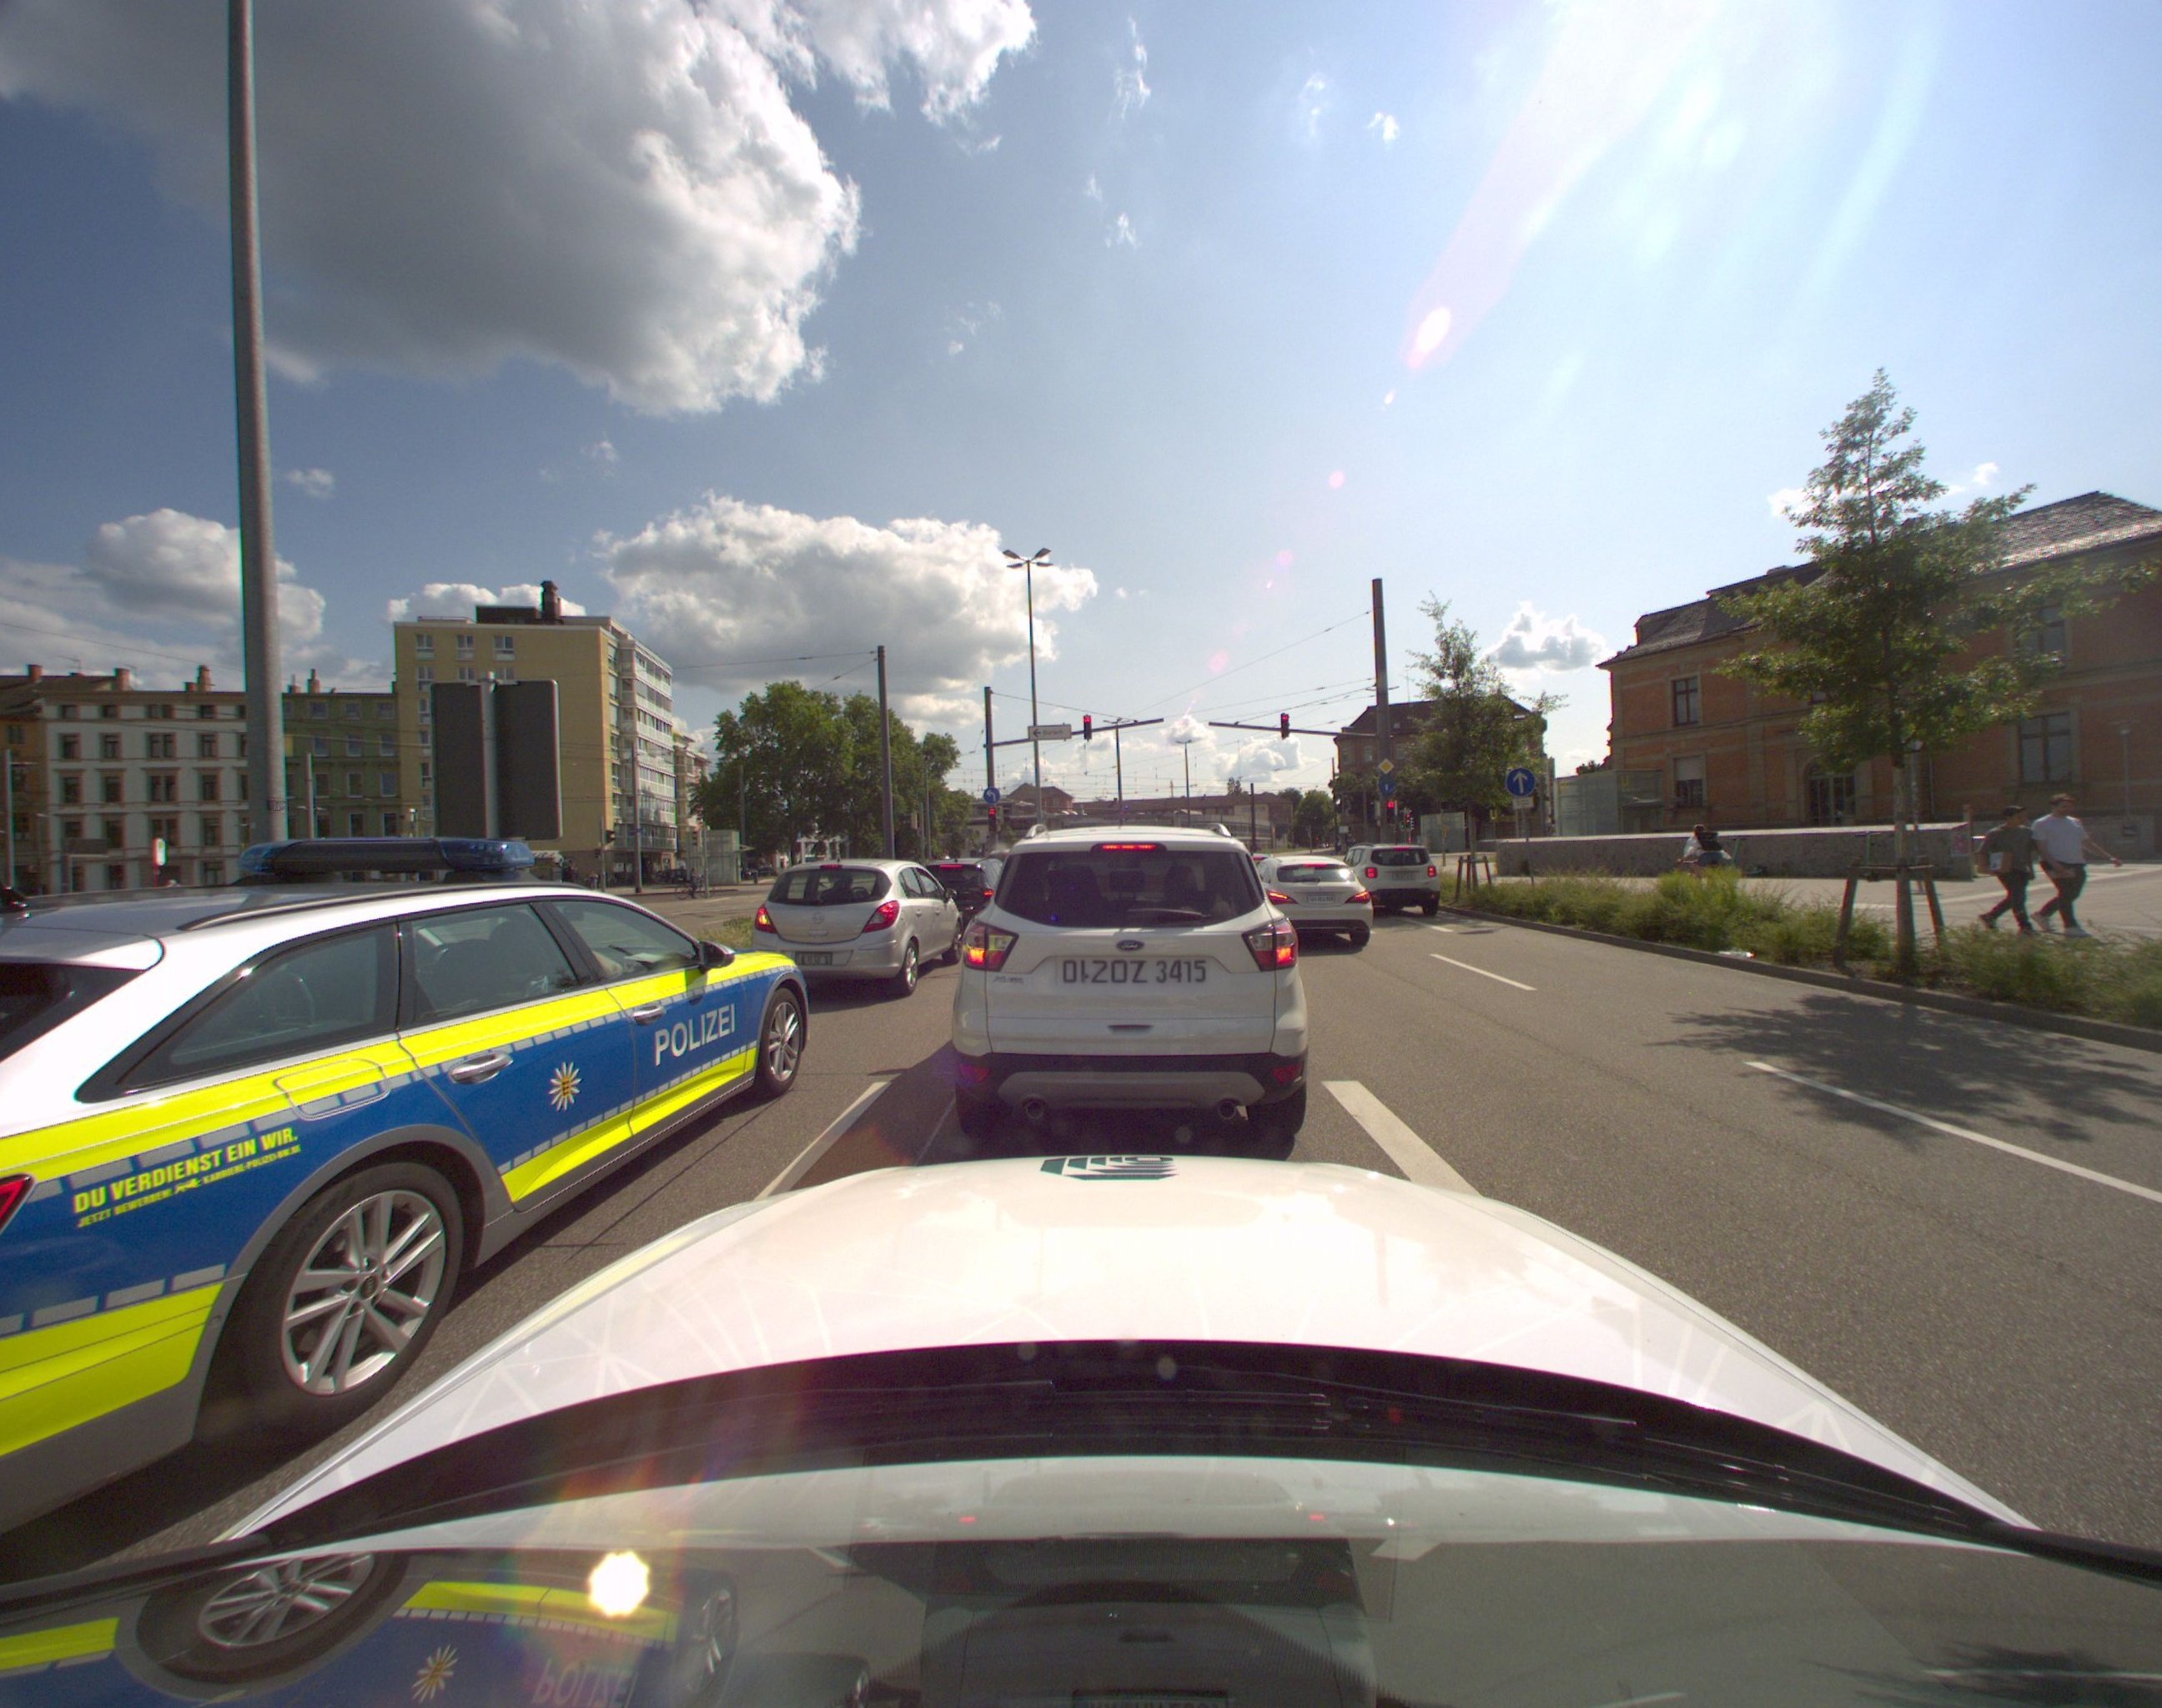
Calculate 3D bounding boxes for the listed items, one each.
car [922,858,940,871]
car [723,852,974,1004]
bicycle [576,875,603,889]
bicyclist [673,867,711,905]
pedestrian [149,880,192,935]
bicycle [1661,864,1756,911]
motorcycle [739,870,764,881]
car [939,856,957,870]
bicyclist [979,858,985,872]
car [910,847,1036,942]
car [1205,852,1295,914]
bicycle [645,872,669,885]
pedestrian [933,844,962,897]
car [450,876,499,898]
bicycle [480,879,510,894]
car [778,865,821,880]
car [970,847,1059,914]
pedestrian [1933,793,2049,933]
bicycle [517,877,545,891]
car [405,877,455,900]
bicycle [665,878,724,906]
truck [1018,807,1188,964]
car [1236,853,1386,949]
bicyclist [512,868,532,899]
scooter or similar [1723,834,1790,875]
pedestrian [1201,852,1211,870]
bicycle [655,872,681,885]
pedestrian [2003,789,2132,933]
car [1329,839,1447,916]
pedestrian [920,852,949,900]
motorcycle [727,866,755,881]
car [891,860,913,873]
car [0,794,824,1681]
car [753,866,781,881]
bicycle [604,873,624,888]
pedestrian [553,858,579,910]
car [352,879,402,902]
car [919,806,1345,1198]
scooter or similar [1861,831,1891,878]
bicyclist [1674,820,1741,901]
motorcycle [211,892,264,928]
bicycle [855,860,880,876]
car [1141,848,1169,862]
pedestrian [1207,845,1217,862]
[{"bbox_3d":[-22.936,1.638,124.657,1.963,1.937,4.227,-4,-1,-2],"label":"car"},{"bbox_3d":[-2.626,0.755,10.261,1.841,1.474,4.002,-2,0,2],"label":"car"},{"bbox_3d":[-42.401,2.397,70.228,1.808,1.104,0.792,-2,0,-18],"label":"bicycle"},{"bbox_3d":[-18.649,1.516,39.064,1.293,1.731,0.994,-3,-1,-1],"label":"bicyclist"},{"bbox_3d":[-31.319,1.822,28.033,0.771,1.797,1.017,0,-1,-36],"label":"pedestrian"},{"bbox_3d":[11.699,0.605,15.241,0.582,0.775,1.623,-2,0,4],"label":"bicycle"},{"bbox_3d":[-31.417,2.013,77.772,0.801,0.917,2.057,-2,1,39],"label":"motorcycle"},{"bbox_3d":[-20.302,1.448,124.339,1.989,2.014,4.227,-4,-1,-2],"label":"car"},{"bbox_3d":[-12.727,1.425,104.769,0.636,1.738,0.662,-1,0,-1],"label":"bicyclist"},{"bbox_3d":[-1.973,0.693,16.218,1.756,1.568,4.528,-2,0,1],"label":"car"},{"bbox_3d":[4.217,0.687,20.852,1.841,1.419,3.684,-1,0,5],"label":"car"},{"bbox_3d":[-38.362,2.219,73.715,1.808,1.147,0.792,-2,0,-17],"label":"bicycle"},{"bbox_3d":[-4.926,0.610,30.087,0.844,1.917,0.693,-3,-1,1],"label":"pedestrian"},{"bbox_3d":[-45.970,2.482,61.679,3.849,1.496,1.912,-3,-2,36],"label":"car"},{"bbox_3d":[-49.386,2.739,68.646,1.808,1.104,0.792,-2,0,-18],"label":"bicycle"},{"bbox_3d":[-30.196,1.993,87.502,3.975,1.327,1.632,-3,-1,-1],"label":"car"},{"bbox_3d":[-1.698,0.657,22.303,2.033,1.578,4.538,-1,0,0],"label":"car"},{"bbox_3d":[12.043,0.111,10.815,0.735,1.754,0.895,-5,-1,35],"label":"pedestrian"},{"bbox_3d":[-46.812,2.512,69.324,1.808,1.104,0.792,-2,0,-18],"label":"bicycle"},{"bbox_3d":[-48.058,2.535,60.115,3.849,1.496,1.912,-3,-2,35],"label":"car"},{"bbox_3d":[-18.505,1.800,39.066,2.286,1.188,0.994,-3,-1,-1],"label":"bicycle"},{"bbox_3d":[0.467,0.441,14.275,2.329,2.155,5.856,-1,0,3],"label":"truck"},{"bbox_3d":[3.787,0.713,14.056,1.841,1.419,3.684,-1,0,5],"label":"car"},{"bbox_3d":[-32.433,1.702,47.281,0.779,1.797,0.706,0,-1,-17],"label":"bicyclist"},{"bbox_3d":[19.393,0.019,23.409,0.466,1.118,1.438,-3,0,-18],"label":"scooter or similar"},{"bbox_3d":[12.441,0.692,80.913,0.582,1.744,0.932,-1,-1,42],"label":"pedestrian"},{"bbox_3d":[-38.050,2.241,75.012,1.948,1.147,0.792,-2,0,-17],"label":"bicycle"},{"bbox_3d":[12.618,0.087,10.459,0.735,1.746,0.895,-5,-1,35],"label":"pedestrian"},{"bbox_3d":[7.316,0.525,19.810,1.826,1.652,4.009,-1,-1,8],"label":"car"},{"bbox_3d":[-5.268,0.790,29.277,0.844,1.648,0.693,-3,-1,1],"label":"pedestrian"},{"bbox_3d":[-30.464,1.782,72.904,2.193,1.238,0.910,-2,1,19],"label":"motorcycle"},{"bbox_3d":[-27.546,1.915,125.617,1.960,1.937,5.070,-4,-1,1],"label":"car"},{"bbox_3d":[-2.834,0.708,3.482,1.873,1.568,4.616,-2,0,1],"label":"car"},{"bbox_3d":[-32.490,2.039,84.404,1.905,1.413,3.986,-3,-1,-10],"label":"car"},{"bbox_3d":[-41.323,2.307,72.096,0.792,1.258,1.808,-2,0,-2],"label":"bicycle"},{"bbox_3d":[-19.083,1.090,30.207,0.770,1.903,0.819,0,-1,-30],"label":"pedestrian"},{"bbox_3d":[-51.478,2.672,59.560,3.849,1.496,1.912,-3,-2,35],"label":"car"},{"bbox_3d":[0.390,0.646,5.505,1.818,1.664,3.961,-1,0,5],"label":"car"},{"bbox_3d":[19.691,0.005,20.154,1.326,1.104,0.460,-4,0,-44],"label":"scooter or similar"},{"bbox_3d":[11.685,0.123,15.210,0.606,1.451,0.775,-2,0,2],"label":"bicyclist"},{"bbox_3d":[-30.655,2.025,29.602,1.436,1.236,0.484,-3,-1,3],"label":"motorcycle"},{"bbox_3d":[-19.801,1.321,75.582,2.171,1.414,0.808,-1,0,-14],"label":"bicycle"},{"bbox_3d":[8.530,0.068,93.685,1.882,1.461,3.991,-3,0,24],"label":"car"},{"bbox_3d":[12.947,-0.039,80.368,0.582,1.744,0.932,-1,-1,42],"label":"pedestrian"}]
